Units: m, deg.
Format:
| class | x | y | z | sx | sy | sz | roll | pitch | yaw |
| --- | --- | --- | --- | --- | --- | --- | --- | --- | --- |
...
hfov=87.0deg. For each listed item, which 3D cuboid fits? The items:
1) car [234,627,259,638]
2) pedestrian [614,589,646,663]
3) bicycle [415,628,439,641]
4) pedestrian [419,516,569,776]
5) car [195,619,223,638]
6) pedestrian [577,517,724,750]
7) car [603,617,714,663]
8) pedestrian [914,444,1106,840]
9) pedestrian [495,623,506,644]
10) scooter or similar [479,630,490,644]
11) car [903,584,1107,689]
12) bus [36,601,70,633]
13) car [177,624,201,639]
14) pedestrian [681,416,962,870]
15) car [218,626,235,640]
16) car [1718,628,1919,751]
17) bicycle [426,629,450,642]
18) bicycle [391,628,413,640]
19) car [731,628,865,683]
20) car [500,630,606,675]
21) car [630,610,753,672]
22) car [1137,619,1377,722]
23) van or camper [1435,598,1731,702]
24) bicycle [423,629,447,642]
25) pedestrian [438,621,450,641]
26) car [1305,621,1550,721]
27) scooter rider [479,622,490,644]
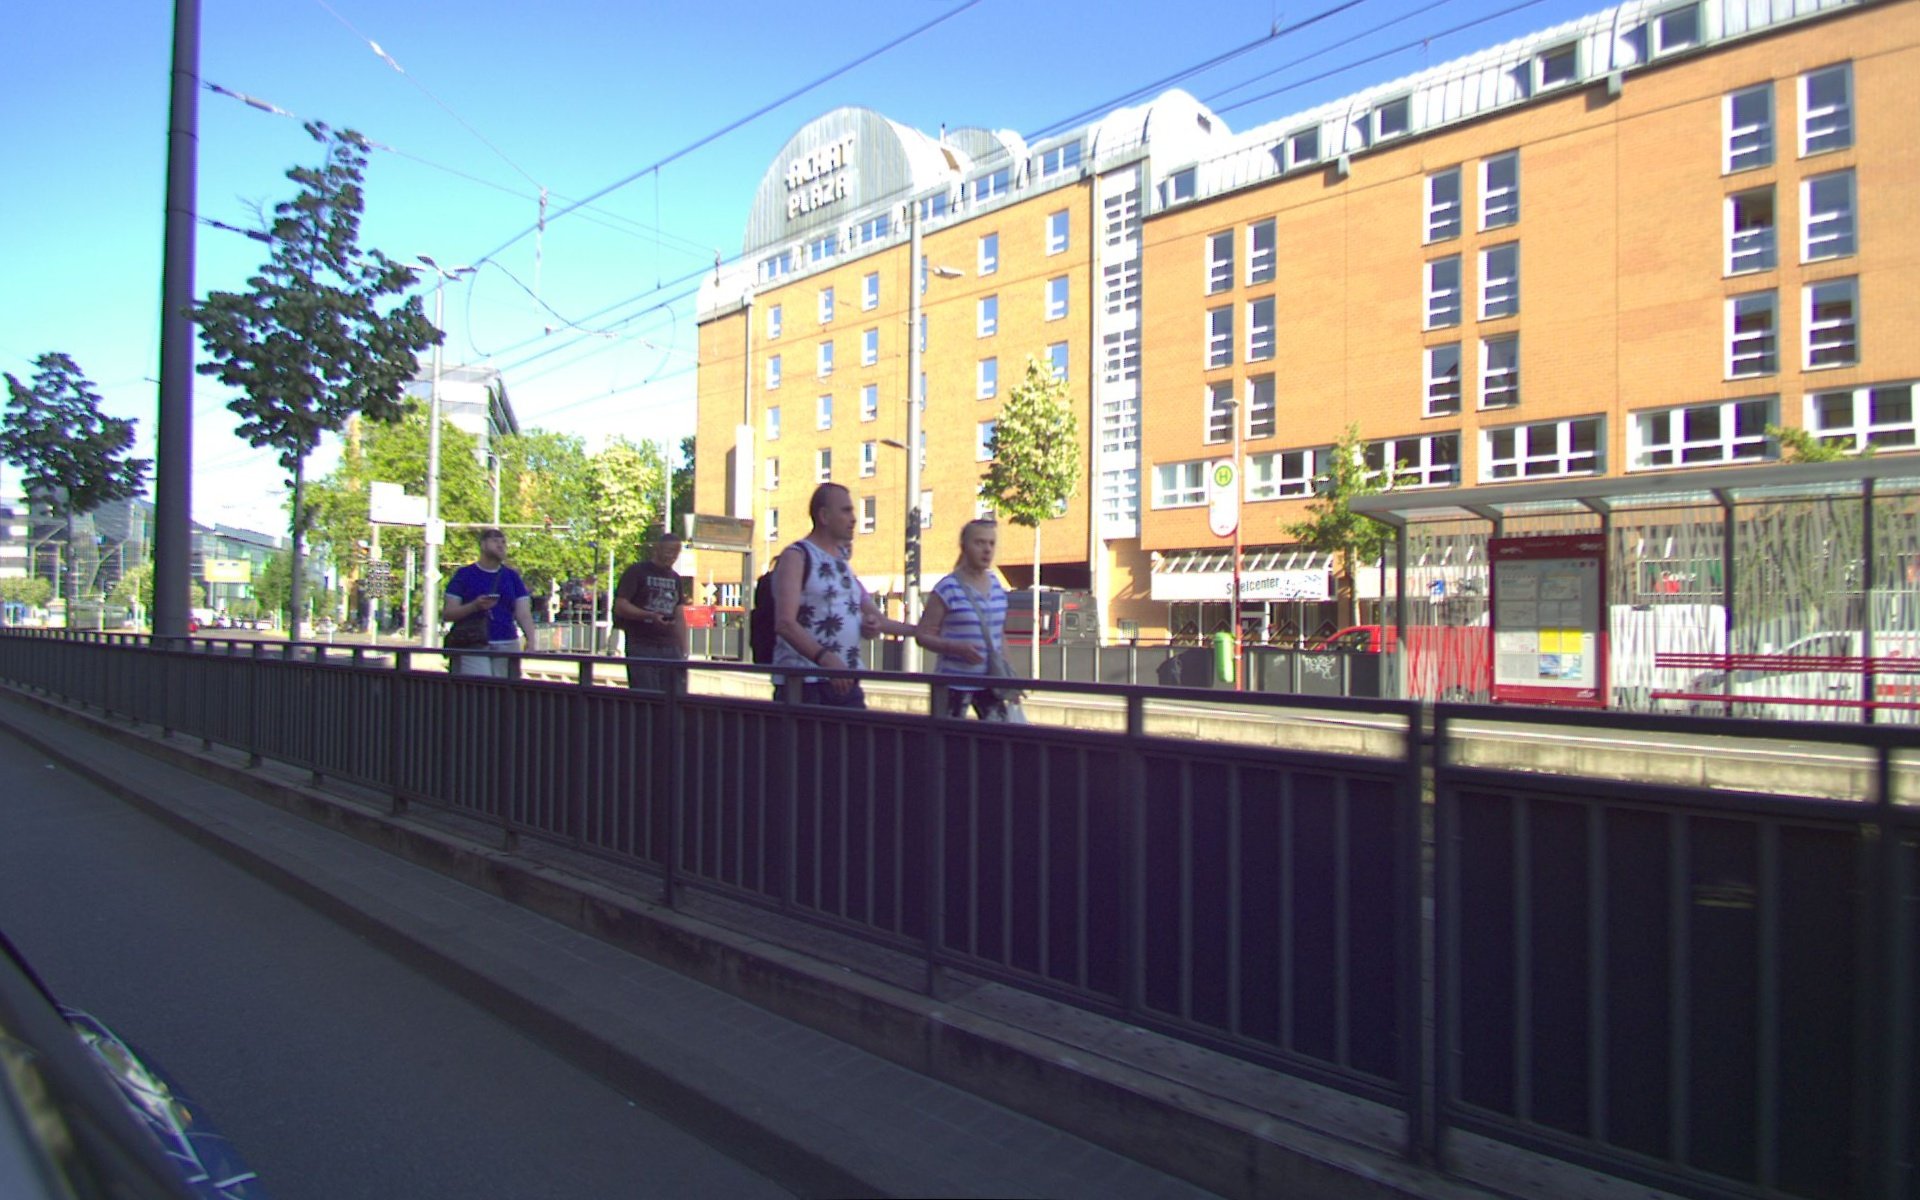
| class | x | y | z | sx | sy | sz | roll | pitch | yaw |
| --- | --- | --- | --- | --- | --- | --- | --- | --- | --- |
| car | -107.470 | 4.935 | 152.444 | 1.834 | 1.644 | 4.275 | 1 | -2 | -16 |
| pedestrian | -7.658 | 0.614 | 23.512 | 0.668 | 1.696 | 0.577 | 1 | -2 | -16 |
| bicycle | -48.960 | 3.176 | 92.956 | 1.816 | 1.138 | 0.776 | 2 | -2 | -43 |
| pedestrian | -3.266 | 0.314 | 7.085 | 0.875 | 1.685 | 0.674 | 2 | -2 | -28 |
| car | -102.389 | 3.973 | 138.088 | 1.965 | 2.499 | 5.993 | 1 | -3 | -26 |
| pedestrian | -2.156 | 0.227 | 7.027 | 0.674 | 1.494 | 0.830 | 2 | -2 | -42 |
| car | -10.701 | 1.415 | 35.823 | 3.996 | 1.544 | 1.867 | -2 | -3 | 40 |
| pedestrian | 0.220 | 0.188 | 4.743 | 0.647 | 1.685 | 0.674 | 1 | -2 | -25 |
| pedestrian | -39.504 | 2.905 | 86.993 | 0.662 | 1.810 | 0.570 | 1 | -2 | -5 |
| scooter or similar | -40.412 | 3.127 | 86.065 | 0.448 | 1.188 | 1.161 | 1 | -2 | -6 |
| car | 1.052 | 0.900 | 25.356 | 4.917 | 2.376 | 2.024 | -1 | -3 | 41 |
| bus | -101.856 | 1.986 | 113.654 | 2.685 | 3.434 | 9.679 | 2 | -3 | -42 |
| car | -75.688 | 3.073 | 99.313 | 1.666 | 1.439 | 4.006 | 2 | -3 | -40 |
| pedestrian | -0.643 | 0.176 | 4.453 | 0.875 | 1.685 | 1.099 | 2 | -2 | -28 |
| car | -110.111 | 4.905 | 151.972 | 1.584 | 2.029 | 3.899 | 2 | -2 | -28 |
| car | 15.113 | 1.404 | 16.390 | 4.317 | 1.881 | 1.865 | -2 | -4 | 44 |
| bicycle | -46.917 | 3.194 | 90.964 | 1.816 | 1.138 | 0.776 | 2 | -2 | -43 |
| bicycle | -51.071 | 3.115 | 92.623 | 1.672 | 1.044 | 0.550 | 2 | -2 | -39 |
| car | -4.963 | 1.667 | 30.712 | 3.996 | 1.544 | 1.867 | -2 | -3 | 40 |
| car | -14.115 | 1.805 | 35.032 | 3.996 | 1.459 | 1.739 | -2 | -3 | 40 |
| car | -10.709 | 1.572 | 40.187 | 5.260 | 2.306 | 2.057 | -1 | -2 | 40 |
| car | 5.963 | 1.373 | 20.612 | 4.314 | 1.881 | 1.866 | -2 | -3 | 42 |
| van or camper | 14.562 | 1.213 | 23.959 | 5.615 | 2.186 | 1.971 | -4 | -4 | 43 |
| bicycle | -47.493 | 3.230 | 91.534 | 1.816 | 1.138 | 0.776 | 2 | -2 | -43 |
| pedestrian | -47.930 | 2.900 | 93.941 | 0.878 | 1.778 | 0.733 | 2 | -4 | -35 |
| car | 9.702 | 1.434 | 21.205 | 4.313 | 1.881 | 1.866 | -2 | -3 | 41 |
| scooter rider | -40.396 | 2.789 | 86.038 | 0.579 | 1.847 | 0.764 | 1 | -2 | -5 |
